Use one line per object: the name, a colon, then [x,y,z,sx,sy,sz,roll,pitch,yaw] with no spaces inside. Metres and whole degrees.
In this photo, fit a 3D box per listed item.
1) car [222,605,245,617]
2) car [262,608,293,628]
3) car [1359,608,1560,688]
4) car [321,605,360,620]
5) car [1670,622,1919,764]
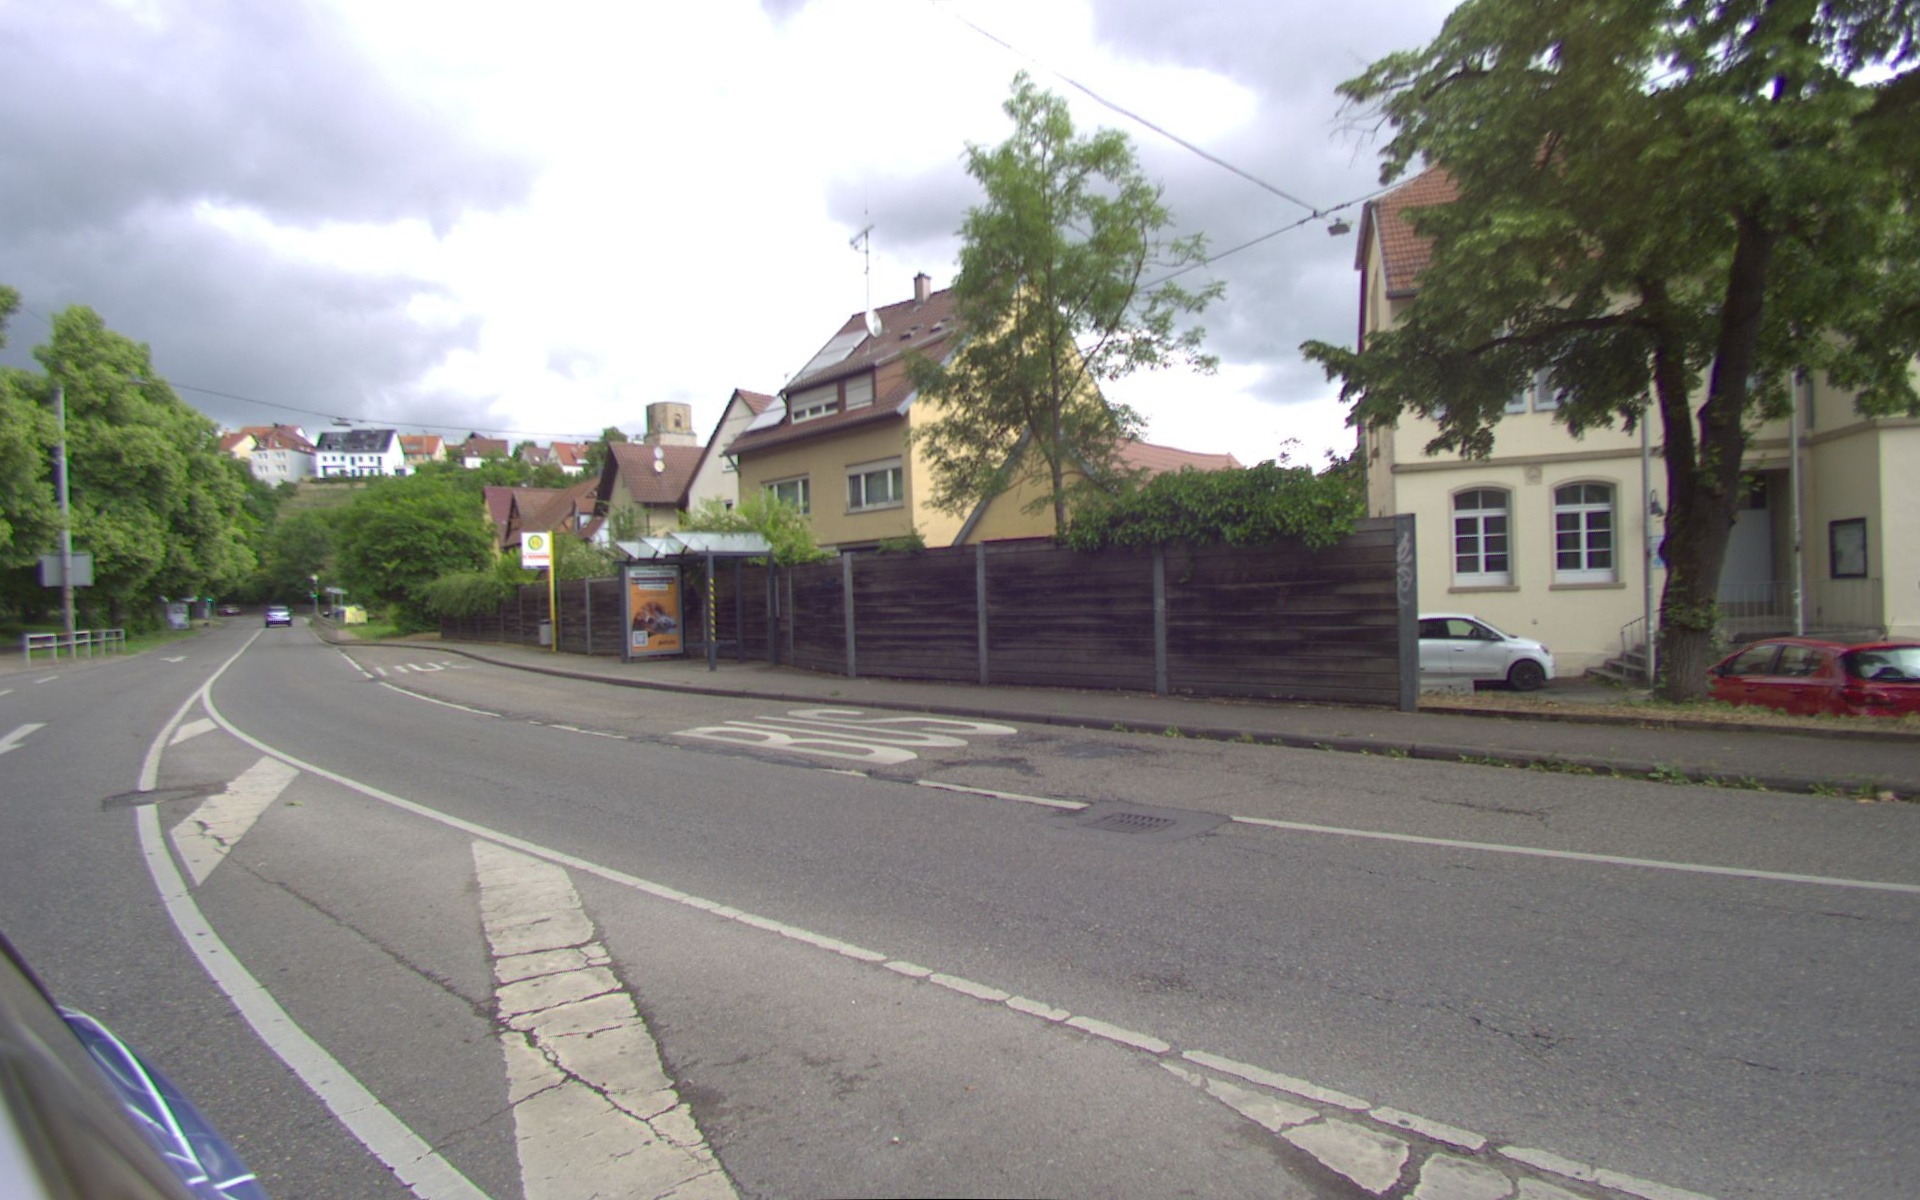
car: [-100.138,1.525,139.510,1.971,1.586,4.002,-1,0,-45]
car: [-58.945,1.573,87.380,1.968,1.630,4.008,-1,0,-38]
car: [10.011,0.951,20.557,3.408,1.490,1.601,-1,0,18]
car: [-68.633,1.374,112.184,3.620,1.596,1.770,-1,0,-29]
car: [10.753,1.028,12.528,1.642,1.393,3.711,-1,0,7]
